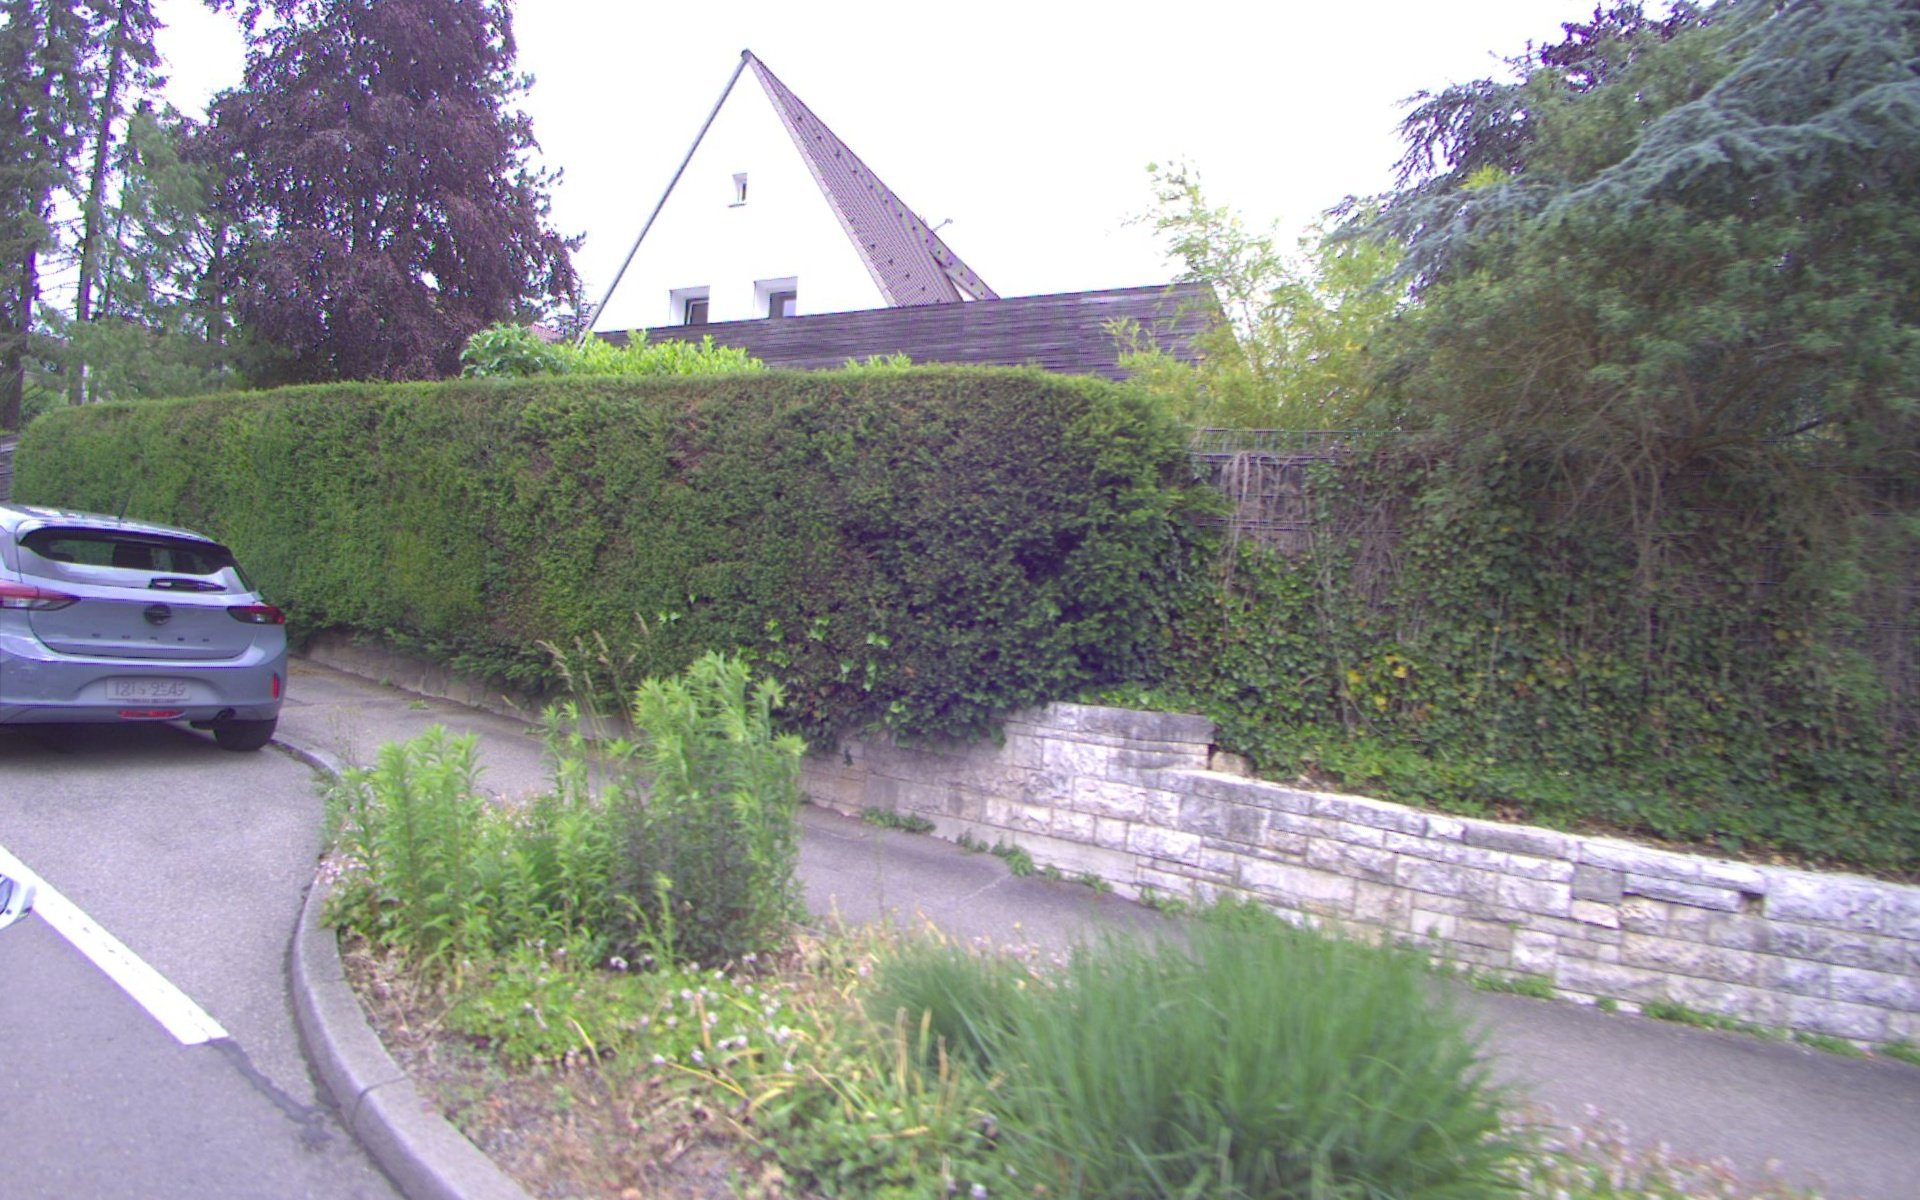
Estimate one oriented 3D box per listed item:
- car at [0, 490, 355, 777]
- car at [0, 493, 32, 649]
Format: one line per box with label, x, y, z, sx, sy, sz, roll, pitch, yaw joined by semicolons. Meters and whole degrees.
car;-6.204;0.062;6.892;3.934;1.481;1.858;7;-1;32
car;-11.269;-0.544;10.045;4.103;1.481;1.858;7;-1;32
